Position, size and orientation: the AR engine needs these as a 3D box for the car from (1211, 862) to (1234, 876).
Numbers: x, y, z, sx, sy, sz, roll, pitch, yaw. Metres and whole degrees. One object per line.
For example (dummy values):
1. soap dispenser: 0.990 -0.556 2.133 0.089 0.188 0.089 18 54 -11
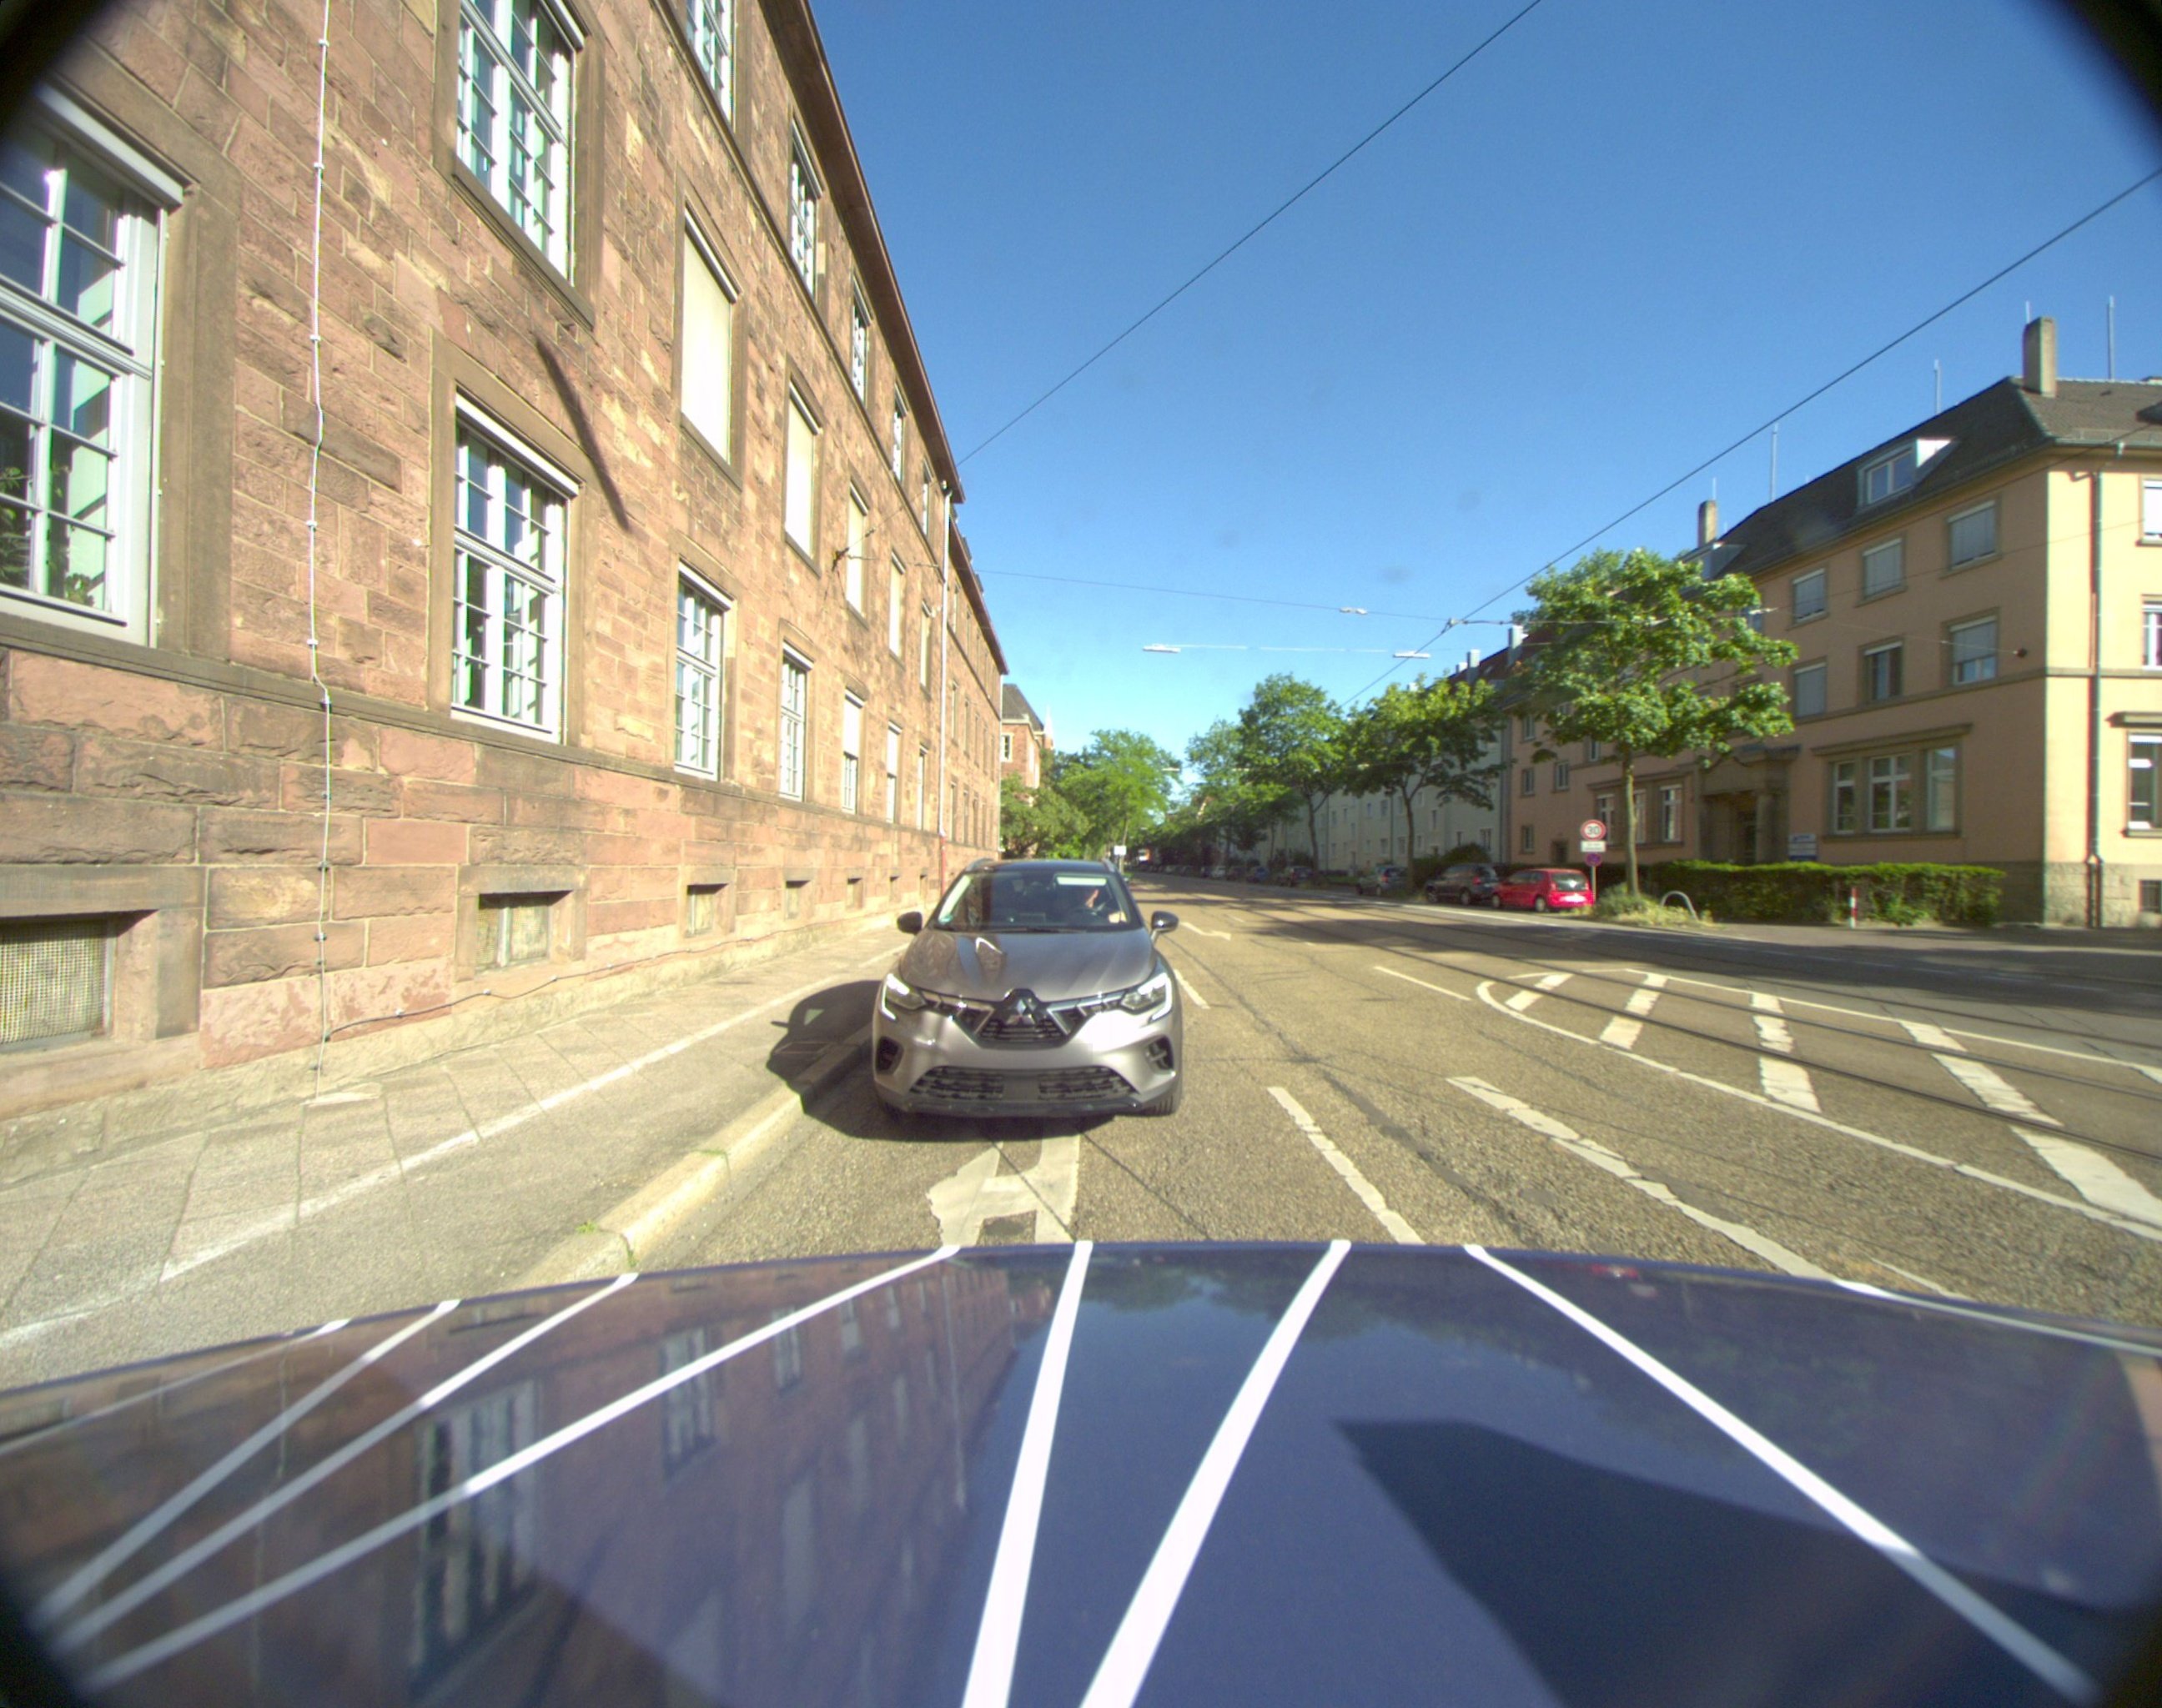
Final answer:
1. car: 16.030 1.675 85.925 1.816 1.411 3.630 1 0 -2

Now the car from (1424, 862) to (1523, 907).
1. car: 15.644 1.175 30.542 1.816 1.648 3.819 1 0 -3

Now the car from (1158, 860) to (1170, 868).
1. car: 15.978 1.861 146.870 1.816 1.514 3.630 1 0 -2

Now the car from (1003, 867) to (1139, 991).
1. car: -0.181 1.036 12.038 1.796 1.595 3.799 0 0 -2

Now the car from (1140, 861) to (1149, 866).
1. car: 16.073 2.374 191.167 1.816 1.411 3.630 1 0 -2

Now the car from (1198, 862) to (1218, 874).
1. car: 15.845 1.764 94.852 1.816 1.411 3.630 1 0 -2

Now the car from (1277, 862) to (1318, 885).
1. car: 15.790 1.434 55.596 1.816 1.589 3.630 1 0 -2

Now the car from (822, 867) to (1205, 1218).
1. car: -0.363 0.919 5.492 1.796 1.595 3.799 0 0 -2

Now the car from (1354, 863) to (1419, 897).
1. car: 15.731 1.306 39.351 1.816 1.648 3.877 1 0 1

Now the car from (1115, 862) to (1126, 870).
1. car: 7.670 2.285 147.987 1.912 1.510 4.000 1 0 -1

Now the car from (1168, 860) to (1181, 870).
1. car: 16.588 1.951 135.233 1.816 1.768 3.630 1 0 -2

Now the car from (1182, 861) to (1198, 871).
1. car: 16.039 1.752 111.758 1.816 1.411 3.630 1 0 -2

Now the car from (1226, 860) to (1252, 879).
1. car: 15.901 1.536 76.566 1.816 1.929 3.630 1 0 -2

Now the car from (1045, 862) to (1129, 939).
1. car: 0.072 1.020 18.485 1.796 1.638 4.083 0 0 -2

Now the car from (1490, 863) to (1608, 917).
1. car: 15.854 1.171 25.933 1.816 1.696 3.374 1 0 -3

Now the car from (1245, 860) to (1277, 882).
1. car: 15.972 1.479 67.489 1.816 1.814 3.795 1 0 -2
